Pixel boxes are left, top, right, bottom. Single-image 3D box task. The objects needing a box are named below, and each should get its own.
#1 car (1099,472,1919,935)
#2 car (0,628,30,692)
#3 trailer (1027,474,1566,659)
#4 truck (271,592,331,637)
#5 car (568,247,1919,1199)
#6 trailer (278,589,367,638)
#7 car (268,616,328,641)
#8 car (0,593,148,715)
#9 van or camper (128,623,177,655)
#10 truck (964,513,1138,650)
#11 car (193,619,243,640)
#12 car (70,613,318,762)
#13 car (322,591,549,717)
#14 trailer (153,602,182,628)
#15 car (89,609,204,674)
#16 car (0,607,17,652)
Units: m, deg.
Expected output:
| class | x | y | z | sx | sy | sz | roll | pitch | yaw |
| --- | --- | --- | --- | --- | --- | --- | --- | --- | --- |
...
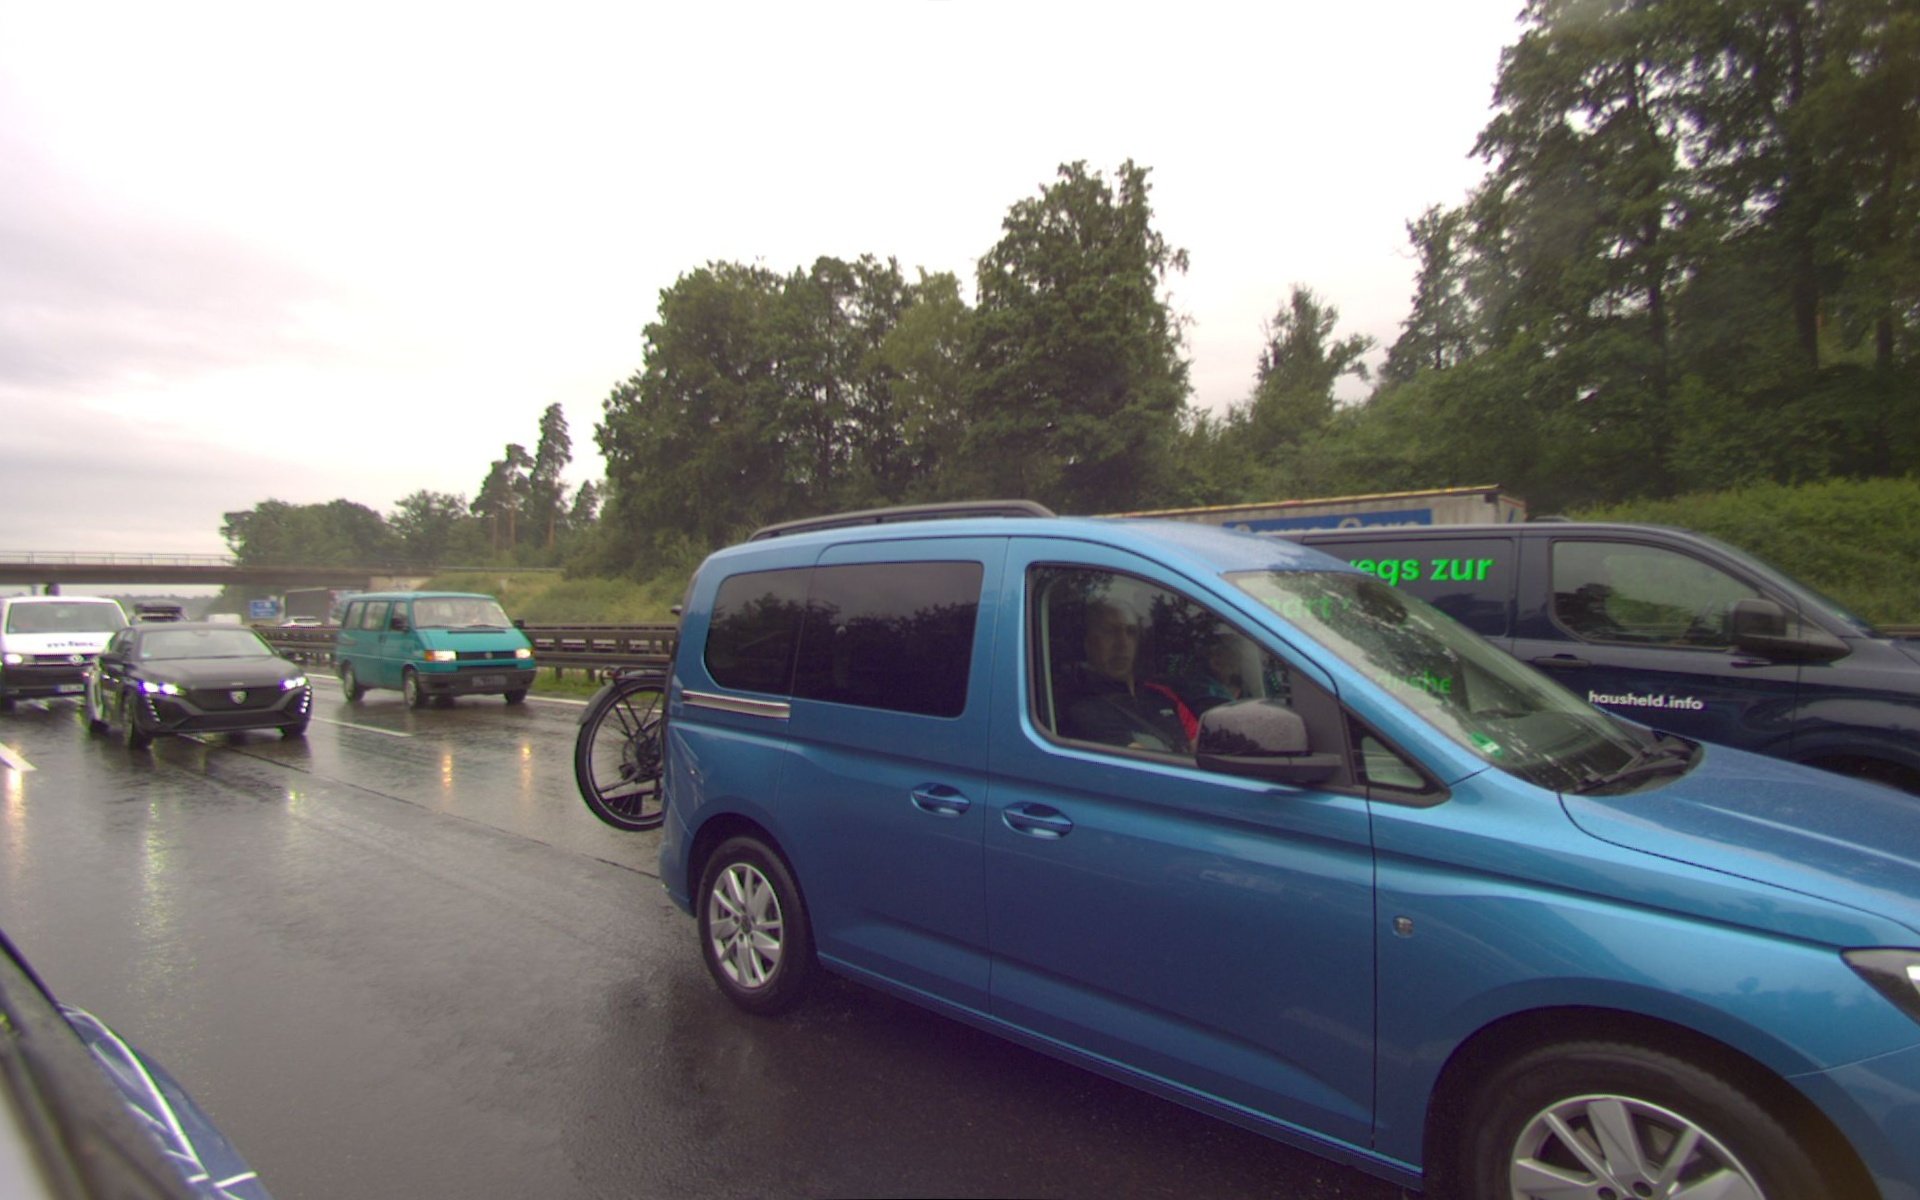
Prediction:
| class | x | y | z | sx | sy | sz | roll | pitch | yaw |
| --- | --- | --- | --- | --- | --- | --- | --- | --- | --- |
| car | 3.574 | 0.456 | 6.096 | 5.243 | 1.958 | 1.970 | -1 | 0 | 43 |
| car | -24.912 | 1.486 | 25.557 | 4.467 | 1.516 | 1.825 | -1 | -1 | 44 |
| trailer | 8.138 | -0.589 | 27.429 | 13.955 | 3.984 | 2.691 | -1 | -2 | 42 |
| truck | -58.226 | 1.327 | 89.365 | 6.264 | 3.847 | 2.987 | -2 | -1 | 43 |
| car | 0.894 | 0.474 | 3.535 | 5.015 | 1.926 | 2.245 | -2 | -1 | 43 |
| trailer | -53.878 | 1.219 | 85.319 | 13.560 | 3.847 | 2.991 | -2 | -1 | 43 |
| car | -41.157 | 1.760 | 62.855 | 4.706 | 1.519 | 1.972 | -2 | -2 | 42 |
| car | -16.089 | 0.897 | 18.001 | 4.768 | 1.894 | 1.968 | -2 | -1 | 44 |
| van or camper | -64.496 | 3.057 | 80.806 | 5.699 | 2.441 | 2.204 | -2 | -1 | 42 |
| truck | 2.842 | -0.471 | 32.158 | 4.889 | 3.984 | 2.675 | -1 | -2 | 41 |
| car | -56.724 | 2.255 | 77.315 | 4.702 | 1.519 | 1.974 | -2 | -2 | 40 |
| car | -9.876 | 0.968 | 12.906 | 4.467 | 1.516 | 1.825 | -1 | 0 | 44 |
| car | -9.155 | 0.844 | 17.463 | 4.757 | 1.877 | 1.890 | -1 | 0 | 42 |
| trailer | -118.416 | 2.297 | 151.186 | 2.650 | 3.847 | 9.016 | 0 | -1 | -42 |
| car | -25.347 | 1.241 | 31.471 | 4.603 | 1.839 | 1.957 | -1 | 0 | 40 |
| car | -35.420 | 1.090 | 36.330 | 4.767 | 1.572 | 1.968 | -2 | -1 | 43 |
